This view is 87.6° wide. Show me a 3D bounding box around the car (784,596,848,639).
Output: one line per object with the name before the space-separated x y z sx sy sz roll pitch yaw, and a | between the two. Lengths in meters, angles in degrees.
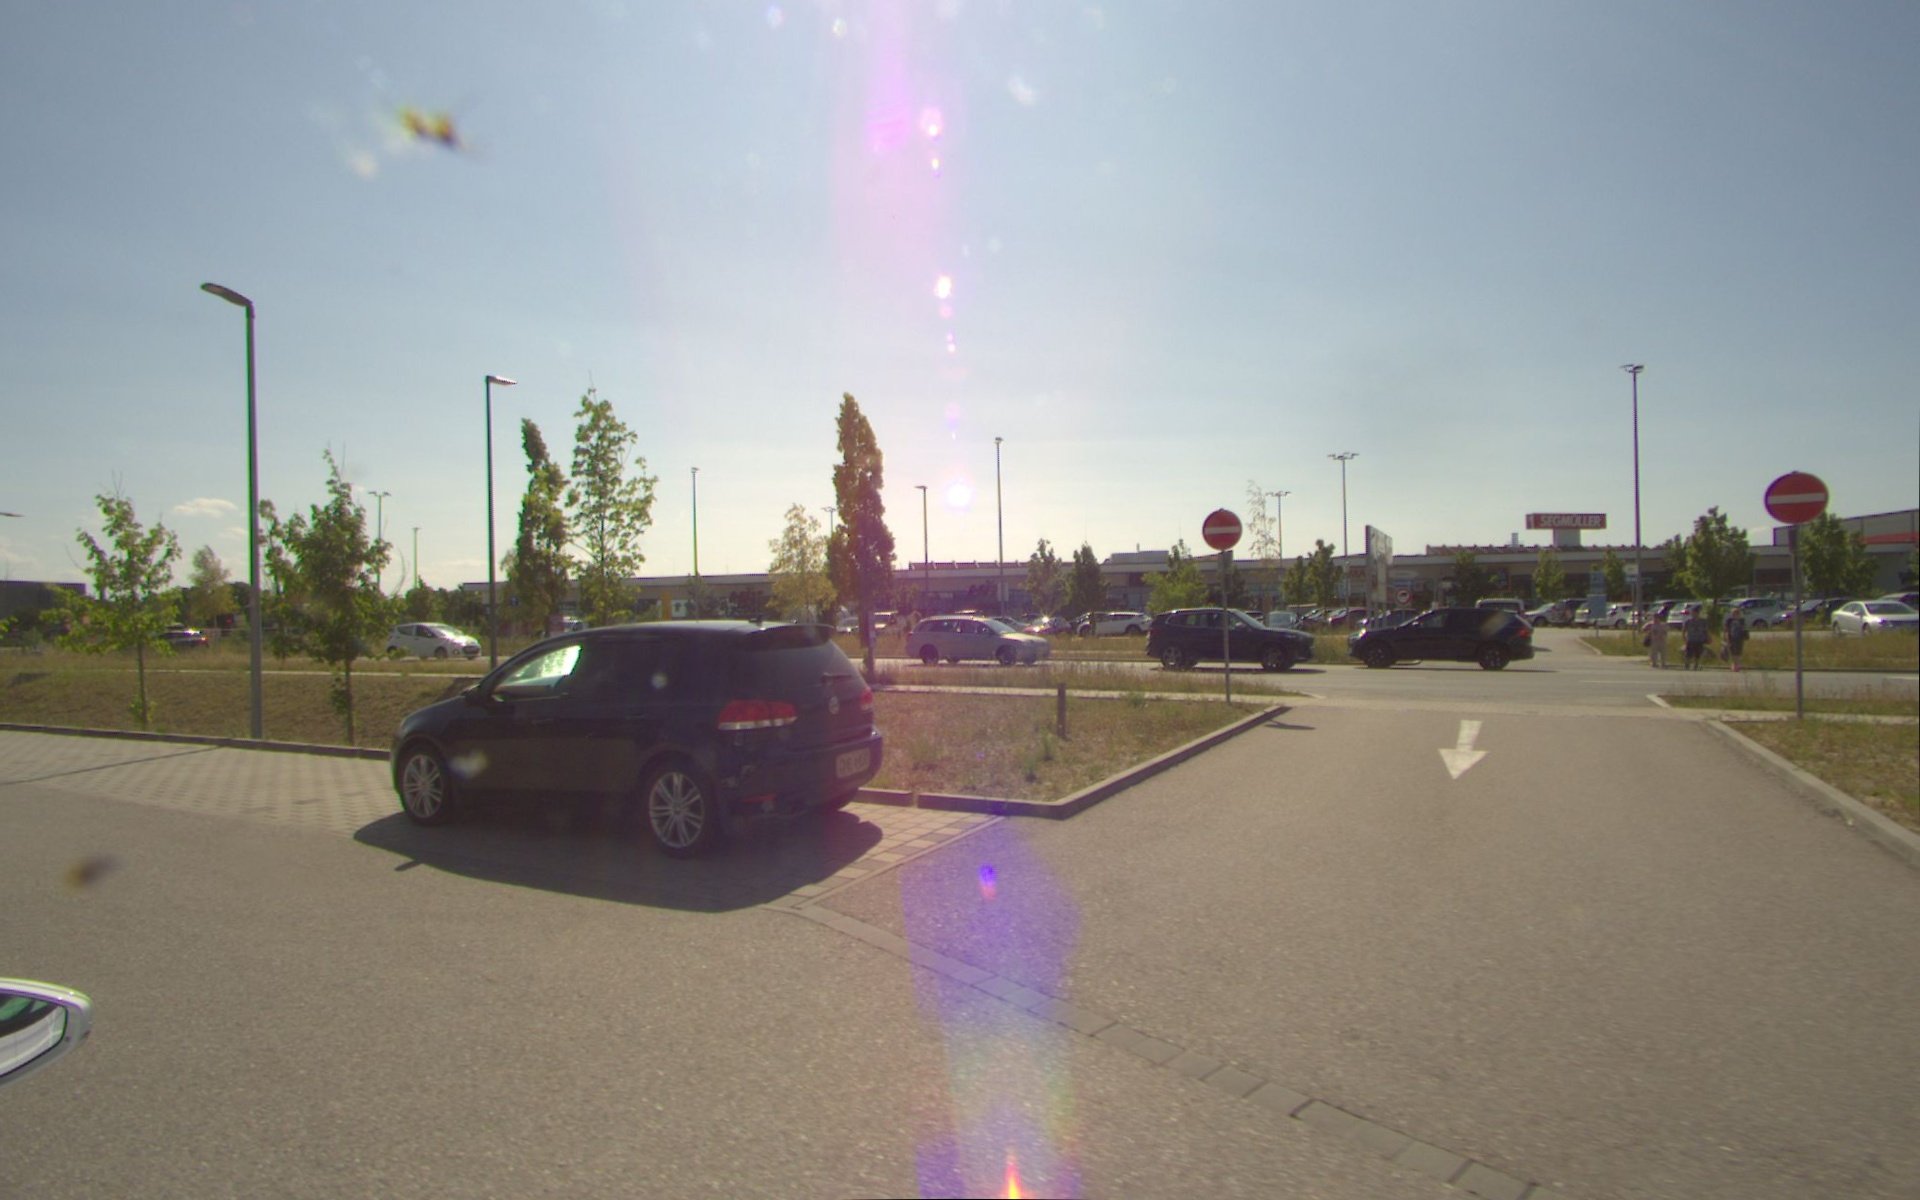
car | -8.679 1.093 60.834 1.963 2.487 5.071 0 -1 15

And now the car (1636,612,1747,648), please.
car | 38.636 1.579 52.959 4.319 1.879 1.956 0 -1 6

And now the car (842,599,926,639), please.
car | -4.419 1.125 59.784 2.767 2.266 6.301 0 -1 19

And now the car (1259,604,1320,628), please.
car | 26.446 1.287 80.396 4.319 1.879 1.956 0 -1 6

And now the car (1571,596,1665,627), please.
car | 39.800 0.708 60.635 4.319 1.879 1.956 0 -1 6

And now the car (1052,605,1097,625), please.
car | 9.088 1.166 79.866 3.408 1.572 1.667 0 -1 1

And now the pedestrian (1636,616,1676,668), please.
pedestrian | 19.150 1.151 27.577 0.714 1.415 0.863 -1 -2 23

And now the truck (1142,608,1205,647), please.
truck | 11.024 1.393 51.409 1.968 1.888 5.416 0 -1 25

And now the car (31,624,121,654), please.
car | -50.434 2.209 57.236 1.681 1.618 3.667 0 -1 6

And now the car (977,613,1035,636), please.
car | 3.393 1.809 73.152 3.926 1.639 1.998 -1 -1 14

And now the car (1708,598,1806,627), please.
car | 53.563 0.841 67.392 4.855 1.879 1.956 0 -1 6

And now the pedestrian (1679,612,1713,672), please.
pedestrian | 19.505 1.101 26.547 0.657 1.576 0.623 0 0 32

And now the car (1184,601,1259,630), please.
car | 18.603 1.128 71.417 4.836 2.040 2.083 0 -1 2

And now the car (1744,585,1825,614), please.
car | 58.081 -0.020 70.574 3.923 2.040 2.000 0 -1 9

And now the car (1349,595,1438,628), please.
car | 25.660 0.688 59.414 4.484 1.879 1.956 0 -1 6

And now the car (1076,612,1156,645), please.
car | 9.219 1.681 59.171 4.332 1.870 1.995 0 -1 22

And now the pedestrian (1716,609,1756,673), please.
pedestrian | 20.088 1.055 25.922 0.745 1.620 0.689 0 0 32

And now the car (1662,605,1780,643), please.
car | 38.045 1.197 50.173 4.319 1.879 1.956 0 -1 6

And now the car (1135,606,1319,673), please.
car | 7.197 1.036 27.055 4.530 1.686 1.872 -1 -1 27

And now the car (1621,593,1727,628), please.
car | 39.313 0.599 55.218 4.319 1.879 1.956 0 -1 6

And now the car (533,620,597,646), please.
car | -25.689 2.104 65.255 1.810 1.639 3.658 0 -1 25

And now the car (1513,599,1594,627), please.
car | 40.558 0.868 68.525 4.319 1.879 1.956 0 -1 3

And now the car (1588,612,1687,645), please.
car | 39.364 1.661 58.265 4.319 1.879 1.956 0 -1 6

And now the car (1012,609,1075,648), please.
car | 4.597 1.555 54.829 1.970 2.040 4.073 0 -1 29

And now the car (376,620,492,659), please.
car | -21.048 1.539 40.115 3.927 1.503 1.876 0 -1 16

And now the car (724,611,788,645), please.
car | -12.957 1.769 64.000 1.963 2.040 5.071 0 -1 15

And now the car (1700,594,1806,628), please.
car | 44.986 0.631 56.890 4.319 1.879 1.956 0 -1 6

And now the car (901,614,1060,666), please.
car | 0.620 1.199 30.816 4.530 1.503 1.872 -1 -1 27

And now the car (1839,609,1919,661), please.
car | 35.100 1.287 37.802 1.970 1.879 4.268 0 -1 29

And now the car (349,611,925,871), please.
car | -2.491 0.874 7.640 4.055 1.497 1.834 -1 1 27

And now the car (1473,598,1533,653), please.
car | 21.057 0.987 38.731 1.851 1.979 4.871 0 -1 31

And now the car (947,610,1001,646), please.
car | 0.862 1.641 59.193 1.963 2.040 5.174 0 -1 15

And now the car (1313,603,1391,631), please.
car | 26.234 1.141 67.186 4.484 1.879 1.956 0 -1 6

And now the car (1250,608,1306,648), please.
car | 15.492 1.349 48.657 1.968 1.870 4.717 0 -1 26

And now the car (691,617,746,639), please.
car | -18.364 2.142 76.081 3.614 1.639 1.905 0 -1 13

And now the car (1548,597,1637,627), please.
car | 39.950 0.762 63.307 4.319 1.879 1.956 0 -1 6

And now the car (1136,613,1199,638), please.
car | 14.271 1.715 68.666 4.222 1.639 1.985 0 -1 -38

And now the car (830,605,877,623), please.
car | -8.444 1.090 79.387 3.420 1.418 1.431 0 -1 13

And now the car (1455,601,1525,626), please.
car | 40.727 1.039 76.965 4.319 1.879 1.956 0 -1 3

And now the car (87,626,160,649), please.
car | -54.498 2.401 65.315 1.559 1.413 3.716 -1 -1 2

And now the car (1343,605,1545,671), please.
car | 12.834 0.995 26.926 4.724 1.646 1.995 0 -1 22
